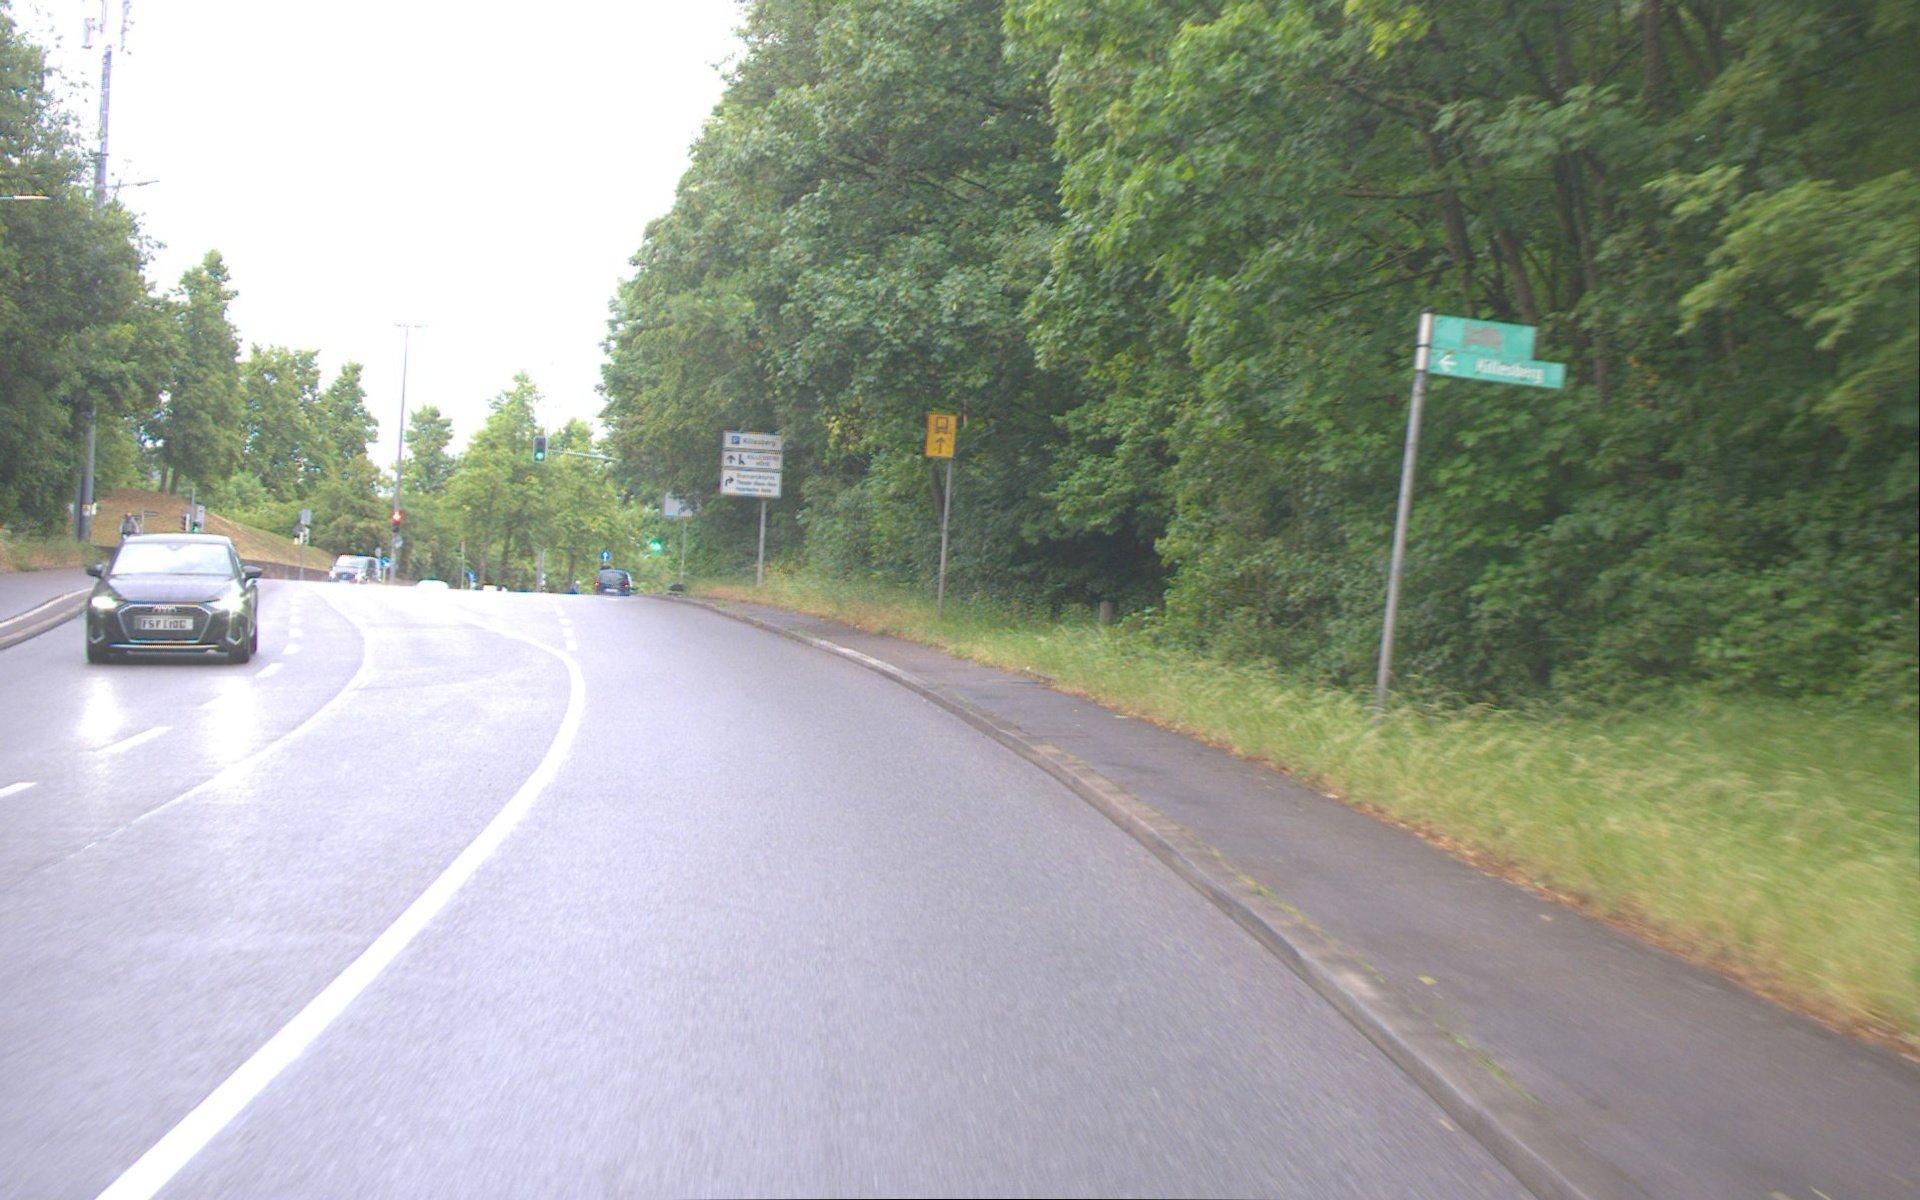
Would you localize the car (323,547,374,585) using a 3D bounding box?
[{"bbox_3d":[-30.728,-1.709,172.971,1.993,1.842,4.000,1,-1,-2],"label":"car"}]

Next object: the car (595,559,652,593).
[{"bbox_3d":[-15.613,-1.140,159.590,1.935,1.493,4.317,2,1,4],"label":"car"}]

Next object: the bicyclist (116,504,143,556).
[{"bbox_3d":[-26.498,-2.240,109.700,0.704,1.639,0.951,1,1,-5],"label":"bicyclist"}]

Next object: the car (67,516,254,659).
[{"bbox_3d":[-9.070,-0.183,39.219,1.934,1.493,4.319,1,1,-12],"label":"car"}]

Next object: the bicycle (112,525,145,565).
[{"bbox_3d":[-26.515,-1.752,109.702,0.704,1.238,2.165,1,1,-5],"label":"bicycle"}]
